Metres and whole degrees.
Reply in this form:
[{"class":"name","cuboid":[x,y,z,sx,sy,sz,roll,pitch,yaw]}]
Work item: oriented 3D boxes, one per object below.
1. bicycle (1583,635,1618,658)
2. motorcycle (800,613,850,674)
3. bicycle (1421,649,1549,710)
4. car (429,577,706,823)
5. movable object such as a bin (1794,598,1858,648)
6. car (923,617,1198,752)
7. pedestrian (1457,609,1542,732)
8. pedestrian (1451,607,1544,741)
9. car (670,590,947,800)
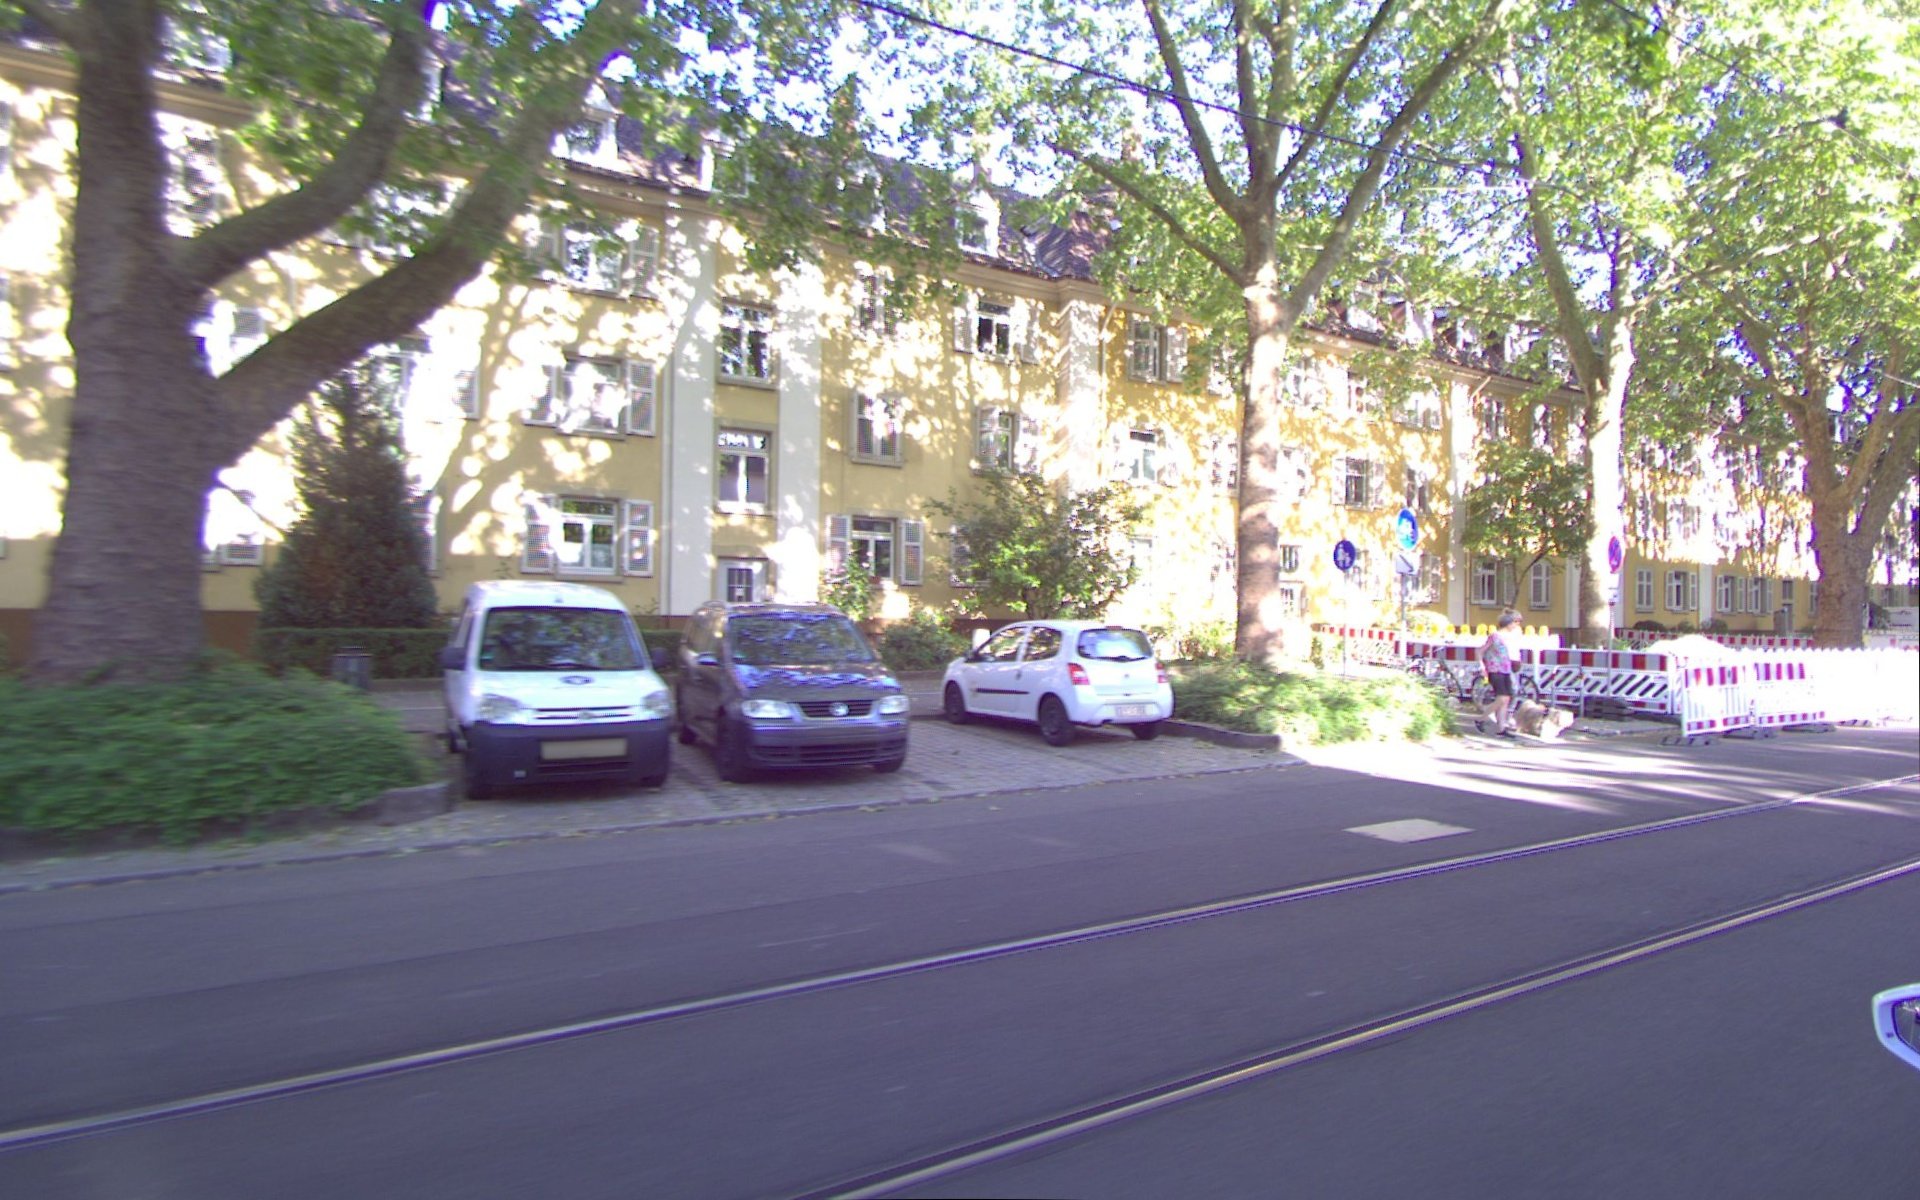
[{"class":"bicycle","cuboid":[23.749,1.700,37.255,1.627,0.829,0.503,1,-1,-34]},{"class":"motorcycle","cuboid":[-2.951,0.924,21.784,0.516,1.257,1.703,1,-1,-28]},{"class":"bicycle","cuboid":[9.364,1.390,17.997,0.717,0.975,1.964,1,-1,-29]},{"class":"car","cuboid":[-3.893,0.740,9.506,1.720,1.781,4.176,1,0,-32]},{"class":"movable object such as a bin","cuboid":[34.092,0.903,39.536,1.984,1.893,1.327,2,0,-30]},{"class":"car","cuboid":[1.192,1.009,13.505,1.840,1.517,3.830,1,-2,-29]},{"class":"pedestrian","cuboid":[8.109,1.039,15.115,0.787,1.768,0.818,1,0,-30]},{"class":"pedestrian","cuboid":[7.428,0.993,13.905,0.787,1.768,0.818,1,0,-30]},{"class":"car","cuboid":[-1.800,0.833,10.516,1.905,1.710,4.226,1,-1,-23]}]
